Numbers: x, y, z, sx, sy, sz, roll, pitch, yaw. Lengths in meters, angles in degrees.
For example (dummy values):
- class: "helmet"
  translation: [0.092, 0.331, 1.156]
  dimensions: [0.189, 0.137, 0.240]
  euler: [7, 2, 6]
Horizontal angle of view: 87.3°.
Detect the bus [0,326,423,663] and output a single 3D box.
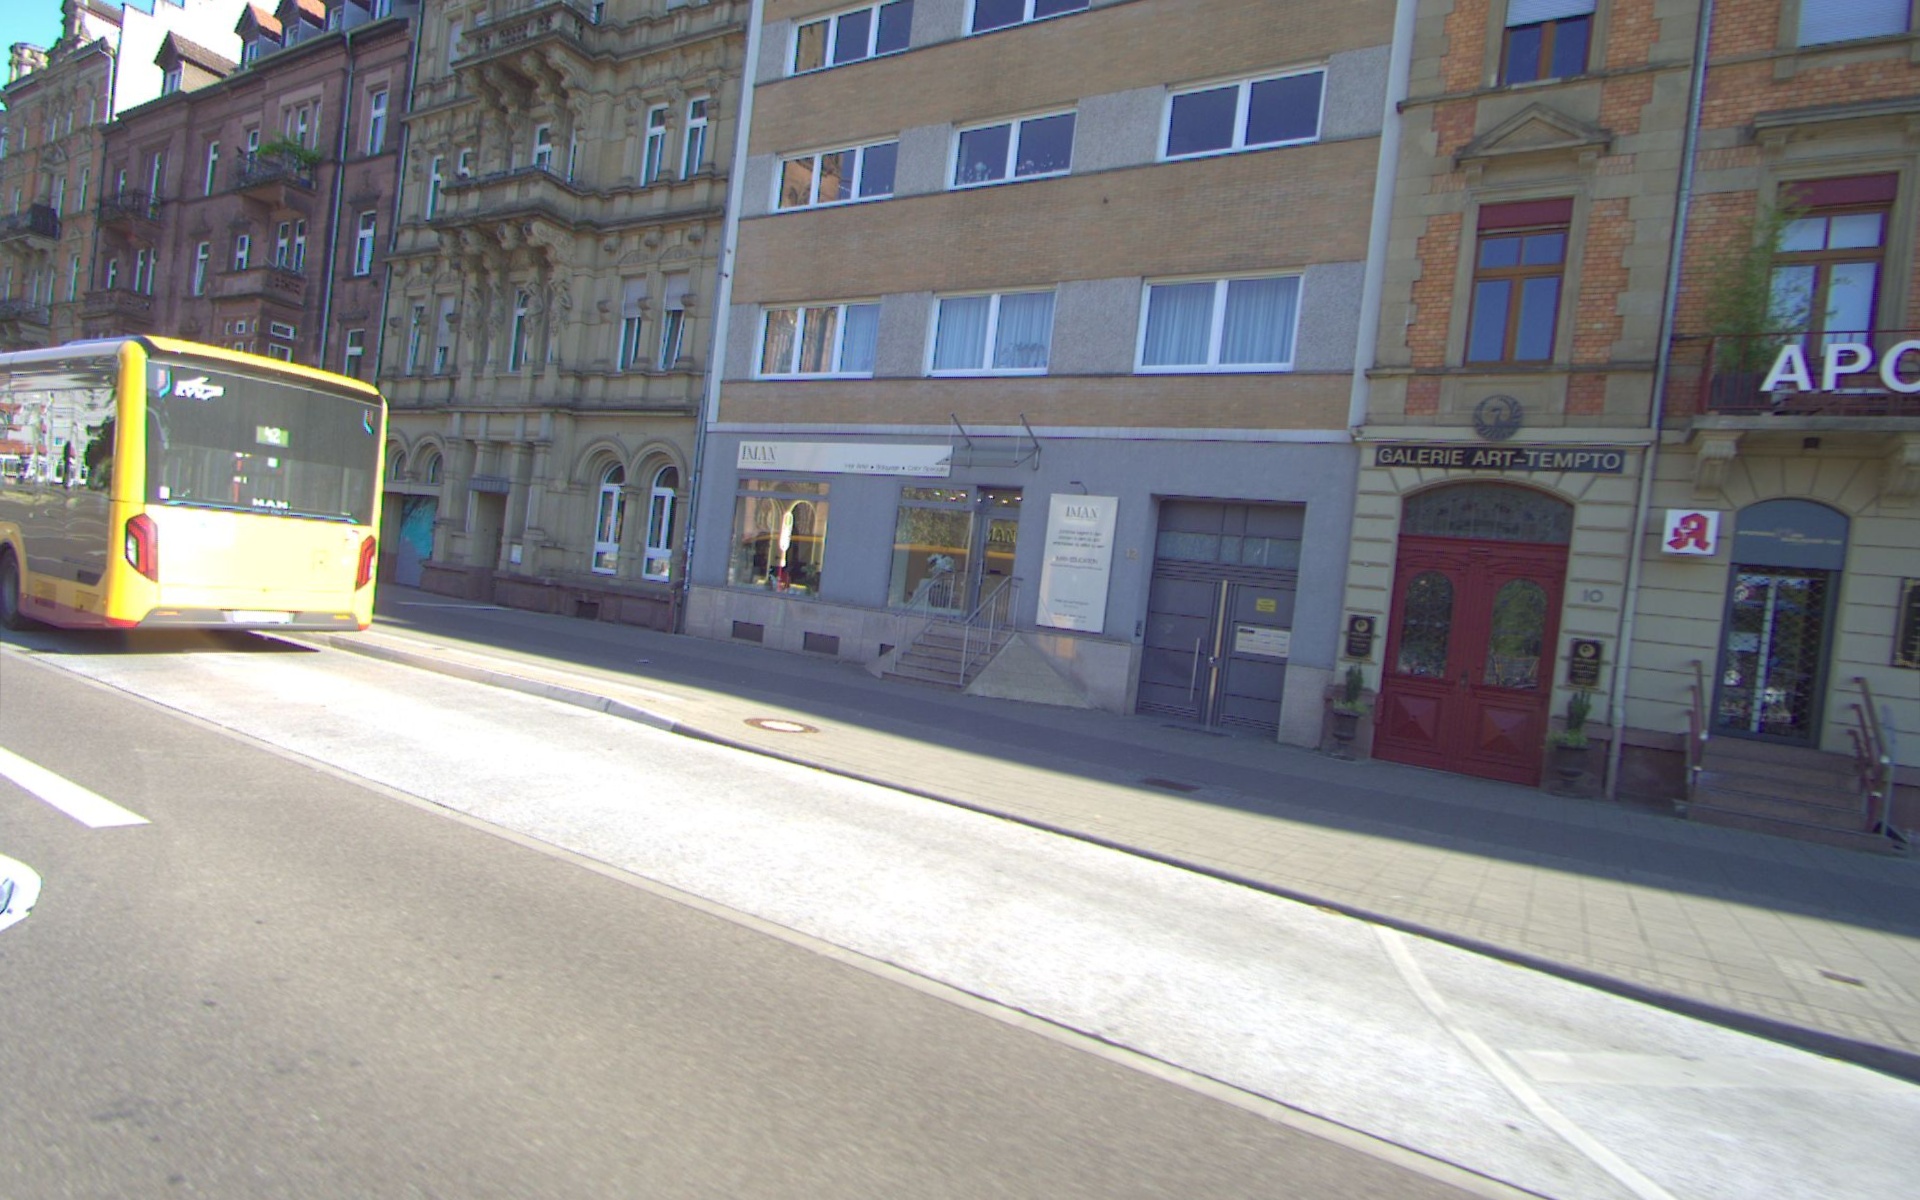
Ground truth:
- class: "bus"
  translation: [-12.407, -1.558, 14.017]
  dimensions: [12.333, 3.222, 2.717]
  euler: [7, 1, 32]
